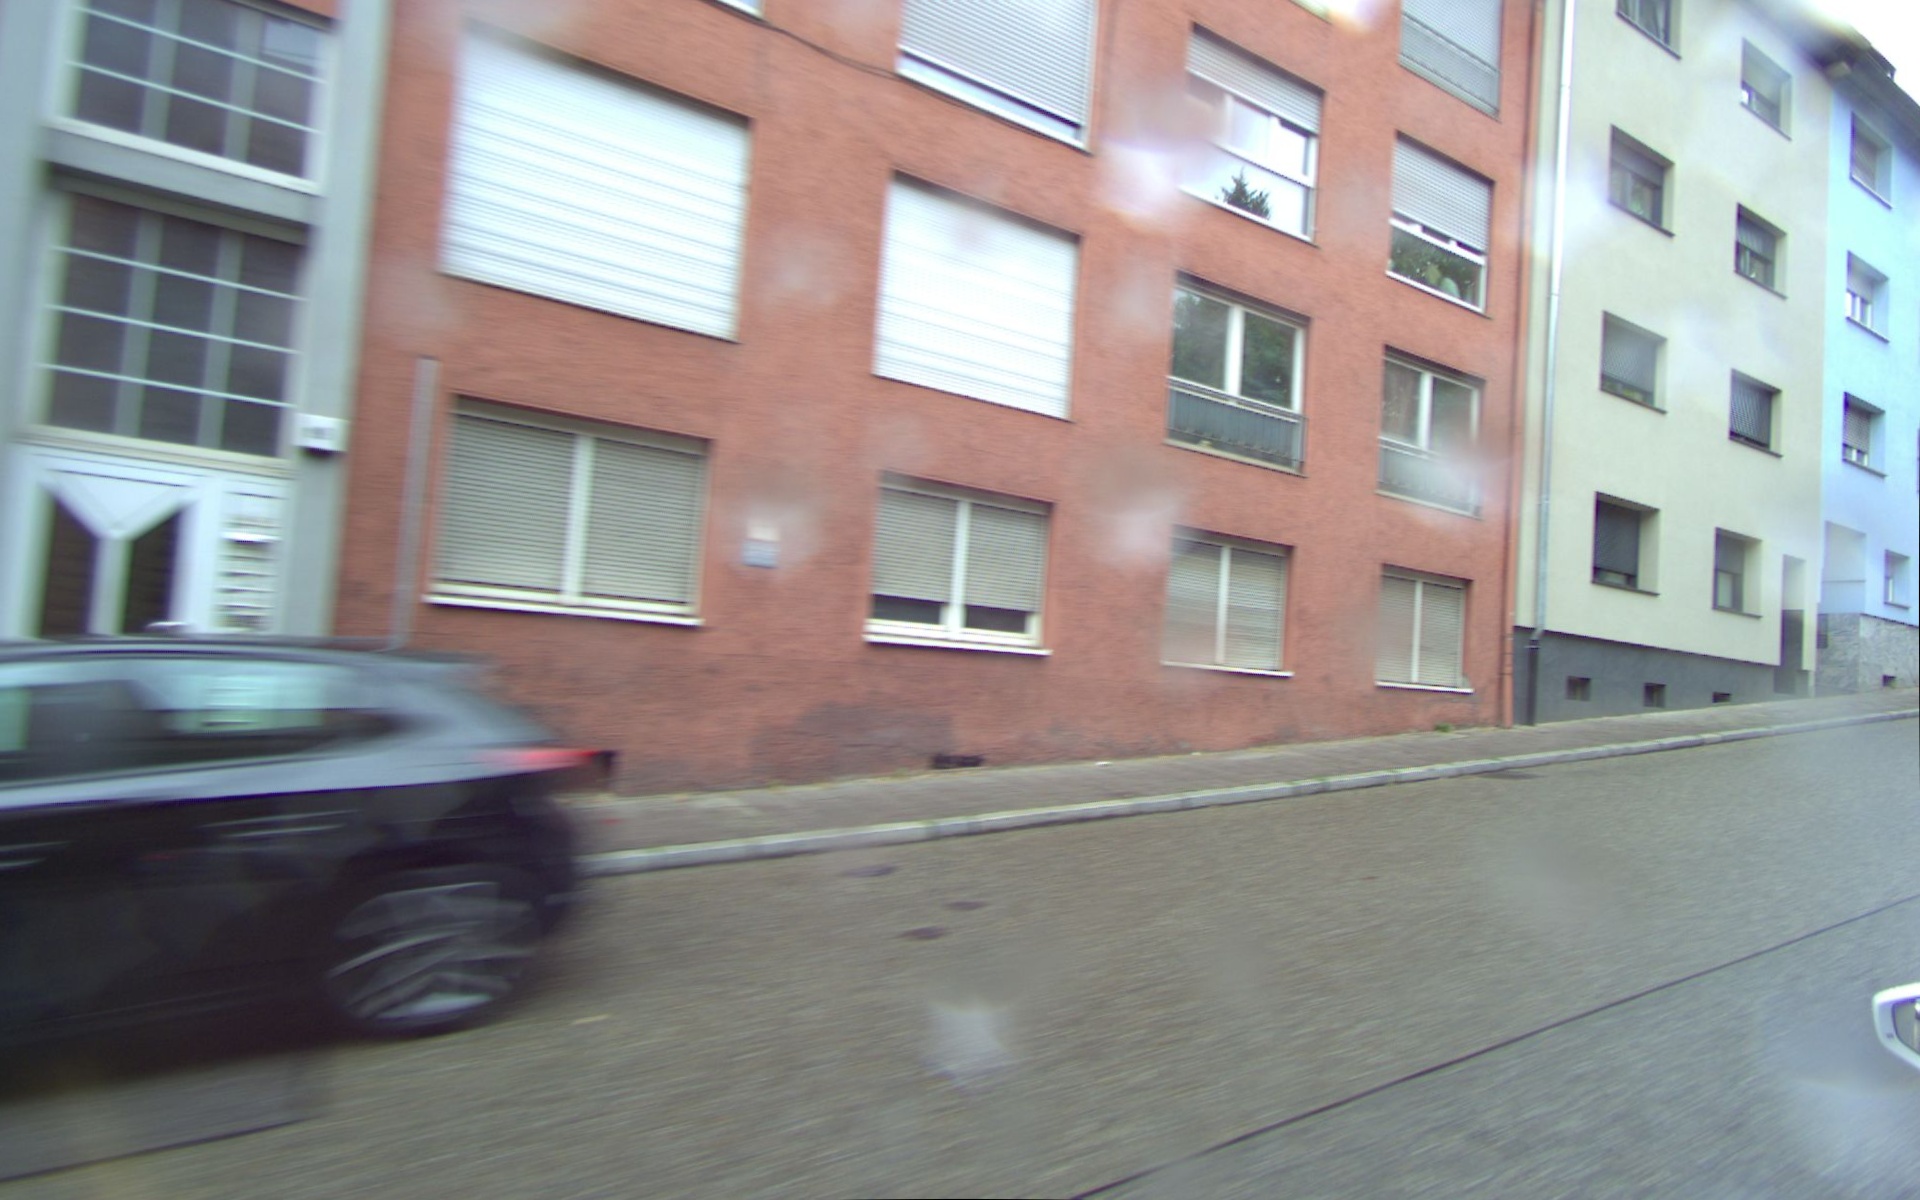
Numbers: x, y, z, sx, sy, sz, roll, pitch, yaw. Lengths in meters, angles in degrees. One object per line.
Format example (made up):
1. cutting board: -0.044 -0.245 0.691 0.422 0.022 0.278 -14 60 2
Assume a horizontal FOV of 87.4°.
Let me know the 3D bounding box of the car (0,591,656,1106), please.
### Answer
1. car: -3.379 0.778 3.762 3.953 1.497 1.985 2 -4 -30
